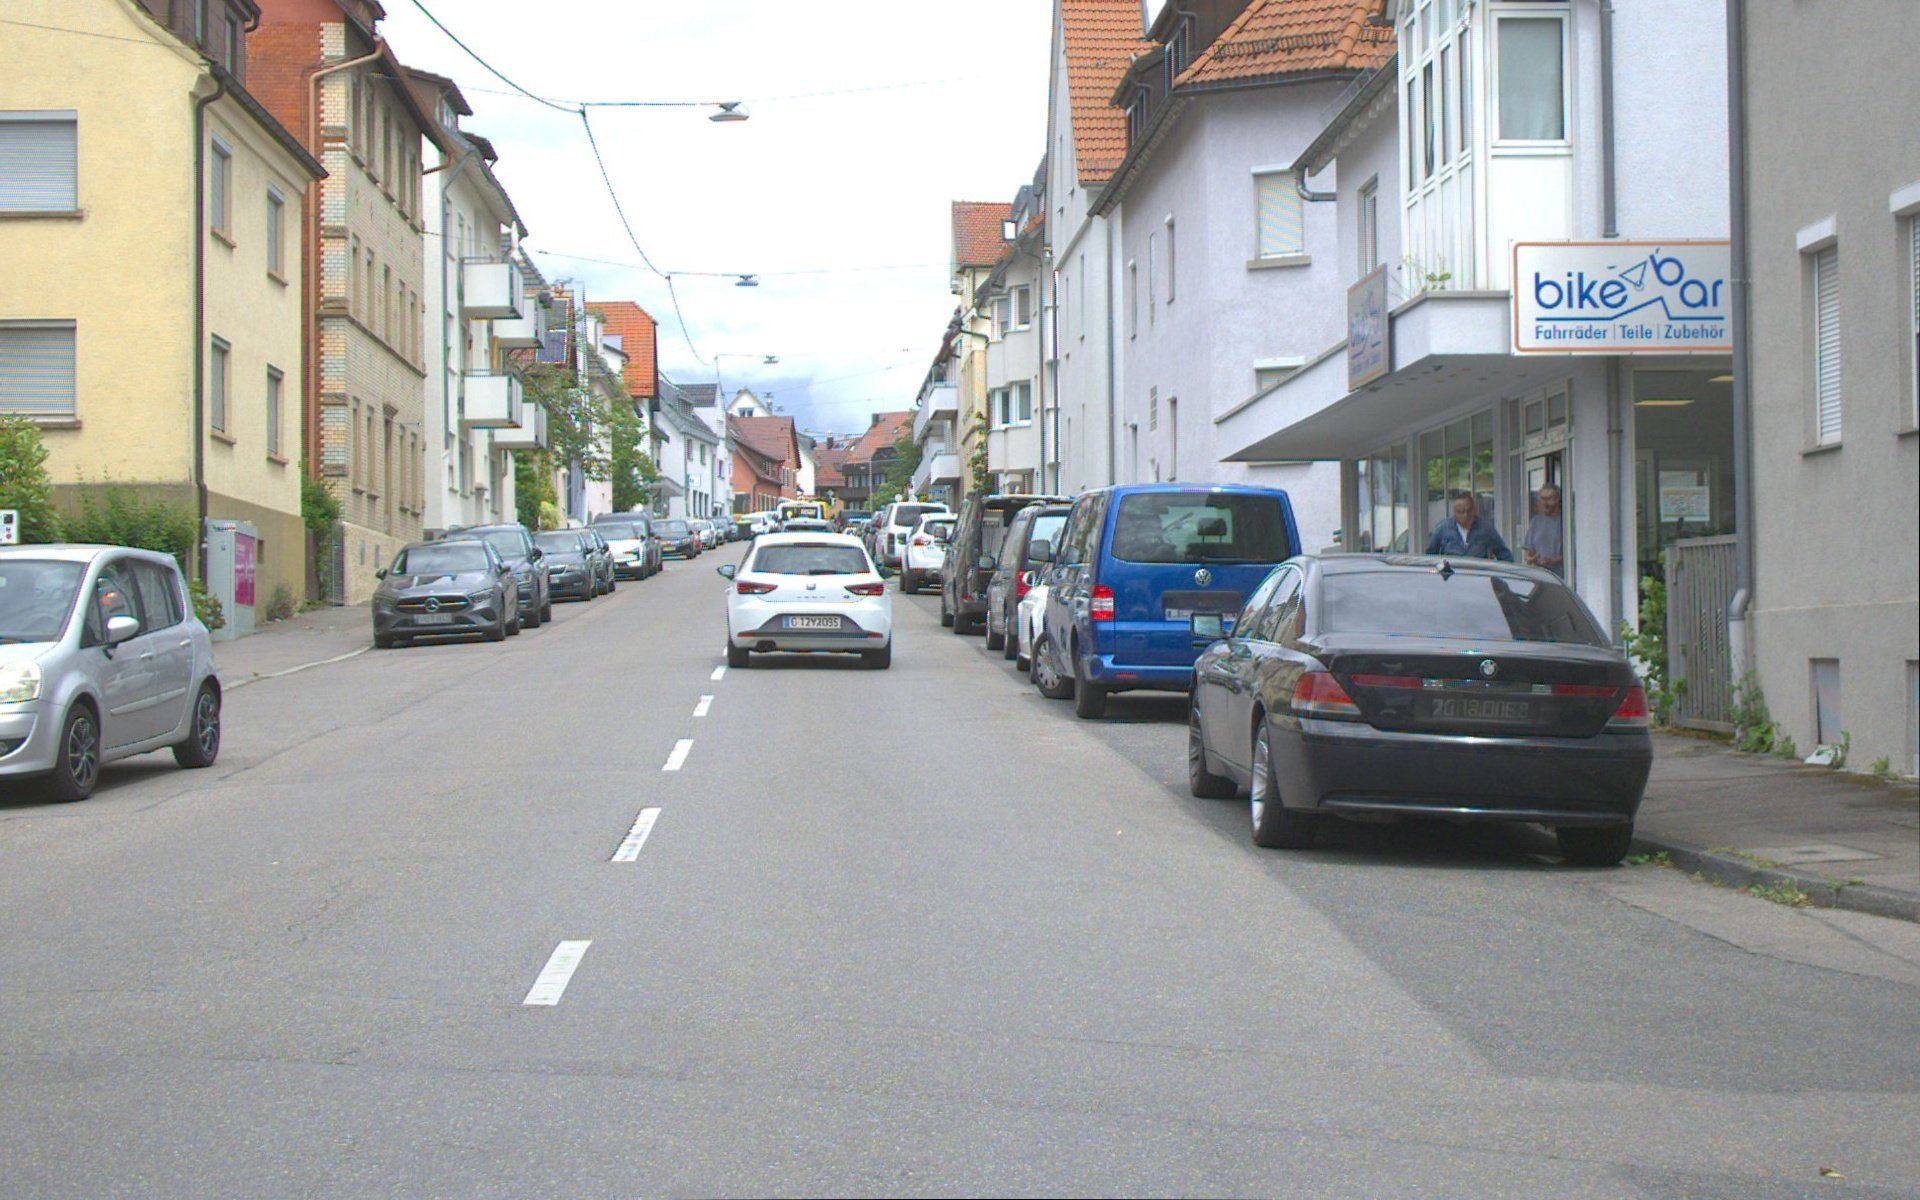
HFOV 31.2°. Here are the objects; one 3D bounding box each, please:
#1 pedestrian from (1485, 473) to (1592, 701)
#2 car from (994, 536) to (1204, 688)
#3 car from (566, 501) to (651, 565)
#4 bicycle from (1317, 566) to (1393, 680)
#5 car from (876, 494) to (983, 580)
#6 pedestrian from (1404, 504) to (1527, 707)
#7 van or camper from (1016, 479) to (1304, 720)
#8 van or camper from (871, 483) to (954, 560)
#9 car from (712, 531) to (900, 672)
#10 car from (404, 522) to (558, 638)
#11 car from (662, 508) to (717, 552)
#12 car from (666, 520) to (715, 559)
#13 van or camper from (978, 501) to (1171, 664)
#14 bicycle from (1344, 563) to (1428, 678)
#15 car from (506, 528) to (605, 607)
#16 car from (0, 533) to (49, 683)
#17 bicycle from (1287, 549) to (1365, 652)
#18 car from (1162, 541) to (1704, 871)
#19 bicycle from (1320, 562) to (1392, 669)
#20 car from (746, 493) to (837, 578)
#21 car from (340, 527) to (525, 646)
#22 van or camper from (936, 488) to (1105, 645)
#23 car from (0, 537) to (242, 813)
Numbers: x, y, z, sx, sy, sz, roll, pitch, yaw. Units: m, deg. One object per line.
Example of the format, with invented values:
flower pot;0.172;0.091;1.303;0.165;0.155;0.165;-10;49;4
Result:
pedestrian;5.183;-0.125;30.801;0.760;2.007;0.618;1;1;32
car;1.387;0.078;35.937;1.714;1.431;4.640;1;1;-3
car;-9.269;-1.776;90.850;1.993;1.645;4.001;-1;1;-3
bicycle;4.077;0.229;35.430;0.250;1.109;1.465;-1;2;27
car;-0.670;-1.330;71.555;1.940;1.687;4.001;2;1;-4
pedestrian;4.346;0.038;29.537;0.872;1.719;0.618;1;1;32
van or camper;1.640;-0.062;29.859;1.926;1.919;4.832;0;1;-3
van or camper;-1.328;-2.149;93.666;1.940;2.047;4.564;0;1;-5
car;-1.664;-0.024;37.609;1.940;1.434;4.001;0;1;-2
car;-7.591;-0.361;54.863;1.993;1.645;4.554;-4;2;-4
car;-10.555;-2.749;134.244;1.993;1.645;4.179;-1;1;-3
car;-11.883;-2.684;151.689;1.993;1.645;4.179;-1;1;-3
van or camper;1.329;-0.258;41.787;1.871;1.822;4.681;2;1;-3
bicycle;4.347;0.197;35.036;0.339;1.109;1.465;-1;2;27
car;-8.219;-0.686;70.144;1.642;1.468;4.179;-3;2;-3
car;-11.712;0.152;35.228;4.229;1.467;2.000;-2;-2;-2
bicycle;4.141;-0.004;38.844;0.297;1.109;1.573;-1;2;27
car;2.366;0.458;18.590;1.993;1.512;4.892;1;1;-3
bicycle;4.332;0.161;37.549;0.250;1.109;1.465;-1;2;27
car;-4.164;-1.584;84.518;2.152;2.007;4.001;1;1;-4
car;-7.405;-0.228;48.640;1.993;1.467;4.244;-3;2;-2
van or camper;0.794;-0.522;49.461;1.993;2.058;5.945;2;1;-3
car;-6.141;0.448;22.153;1.834;1.572;4.031;-4;1;4
